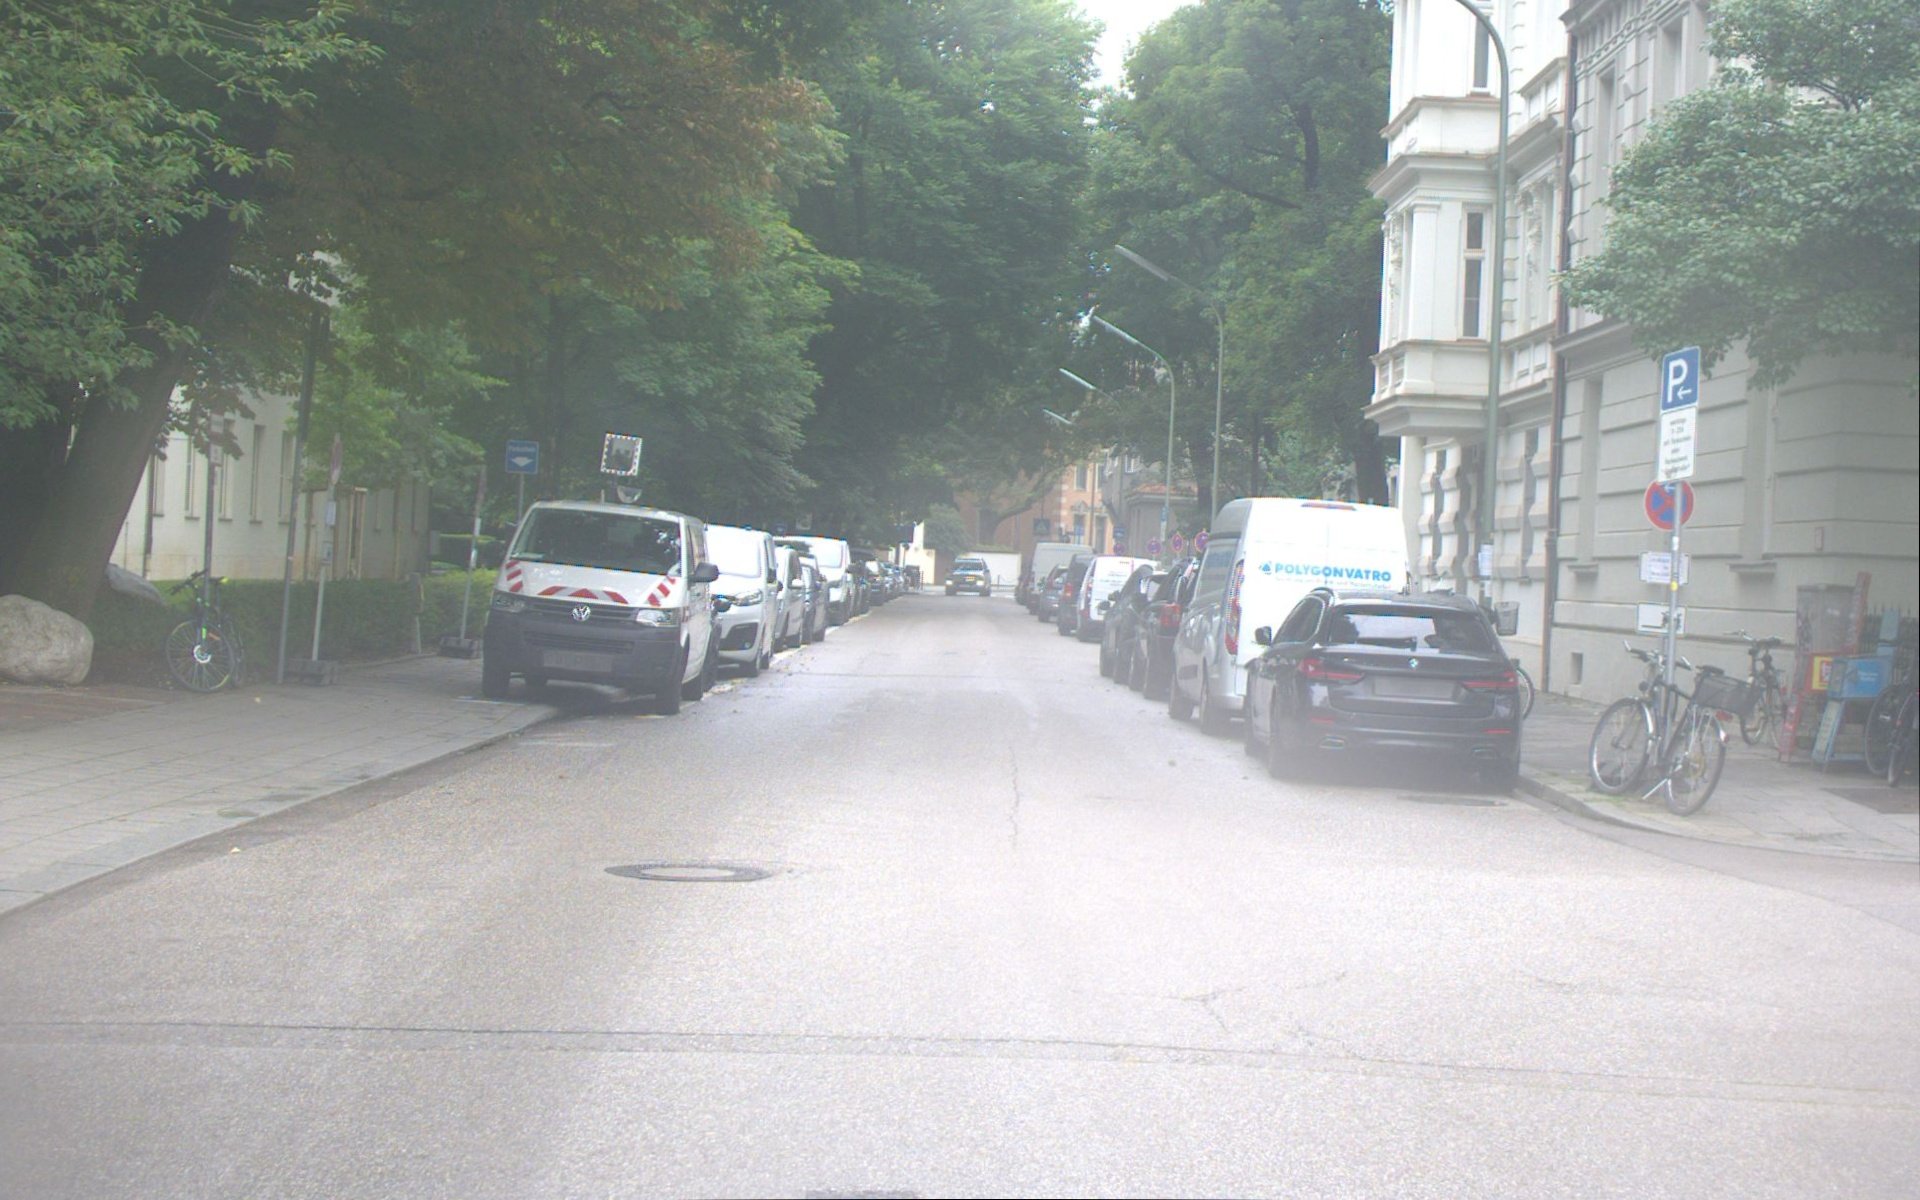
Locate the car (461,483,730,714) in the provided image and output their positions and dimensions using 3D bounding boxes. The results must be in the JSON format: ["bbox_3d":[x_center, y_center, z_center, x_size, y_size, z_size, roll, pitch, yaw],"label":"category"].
[{"bbox_3d":[-3.495,-0.050,34.003,2.247,1.950,5.454,4,1,-3],"label":"car"}]

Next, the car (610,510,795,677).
[{"bbox_3d":[-3.375,-0.116,45.725,2.183,1.950,5.167,4,1,-3],"label":"car"}]

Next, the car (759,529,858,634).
[{"bbox_3d":[-3.438,-0.440,78.732,2.002,2.179,4.696,4,1,-1],"label":"car"}]

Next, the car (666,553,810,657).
[{"bbox_3d":[-3.649,0.057,57.137,2.069,1.514,4.237,4,1,-1],"label":"car"}]

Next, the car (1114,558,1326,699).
[{"bbox_3d":[3.184,0.324,43.007,2.138,1.624,4.316,2,0,-2],"label":"car"}]

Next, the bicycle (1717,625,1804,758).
[{"bbox_3d":[6.867,0.768,29.549,0.546,1.056,1.750,3,1,9],"label":"bicycle"}]

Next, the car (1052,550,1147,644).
[{"bbox_3d":[3.102,-0.095,77.214,1.993,1.969,4.000,2,1,2],"label":"car"}]

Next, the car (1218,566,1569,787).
[{"bbox_3d":[3.311,0.544,27.199,2.272,1.541,4.587,2,0,2],"label":"car"}]

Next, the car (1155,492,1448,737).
[{"bbox_3d":[3.294,0.119,34.161,2.203,2.201,4.856,2,0,-2],"label":"car"}]

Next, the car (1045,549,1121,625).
[{"bbox_3d":[3.430,-0.385,96.402,1.993,2.007,4.000,2,1,2],"label":"car"}]

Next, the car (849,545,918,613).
[{"bbox_3d":[-2.647,-0.738,118.105,2.047,2.147,4.314,4,0,-3],"label":"car"}]

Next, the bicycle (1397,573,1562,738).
[{"bbox_3d":[5.069,0.525,33.674,0.707,1.510,2.039,3,1,-17],"label":"bicycle"}]

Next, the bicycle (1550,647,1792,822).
[{"bbox_3d":[4.877,0.904,23.752,0.653,1.024,2.203,2,2,-16],"label":"bicycle"}]

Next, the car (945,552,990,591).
[{"bbox_3d":[0.359,-1.366,165.310,1.993,1.777,4.000,2,1,2],"label":"car"}]

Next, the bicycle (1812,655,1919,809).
[{"bbox_3d":[6.902,0.980,25.996,0.430,1.024,1.890,2,2,1],"label":"bicycle"}]

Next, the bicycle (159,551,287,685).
[{"bbox_3d":[-6.470,0.152,30.276,0.633,1.099,1.767,4,0,1],"label":"bicycle"}]
